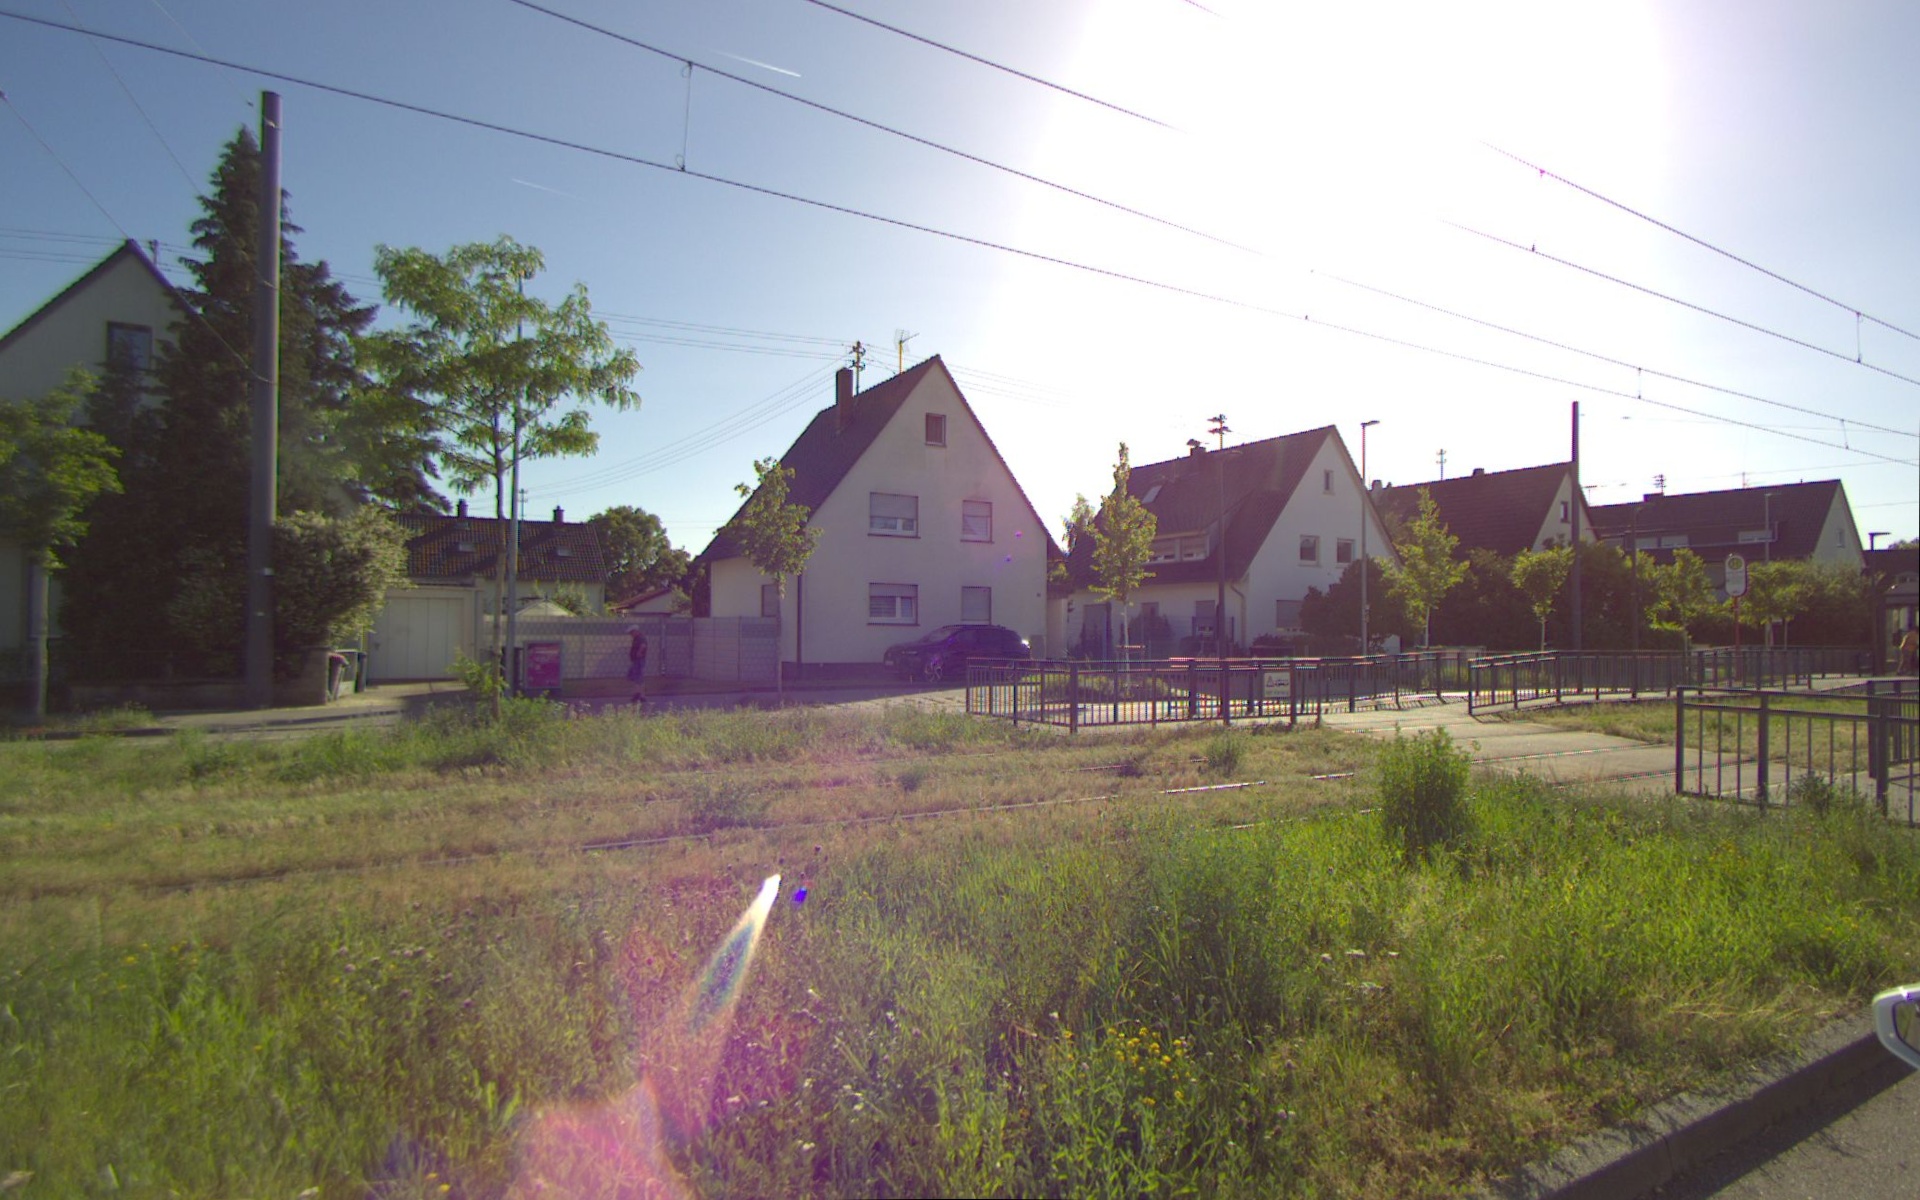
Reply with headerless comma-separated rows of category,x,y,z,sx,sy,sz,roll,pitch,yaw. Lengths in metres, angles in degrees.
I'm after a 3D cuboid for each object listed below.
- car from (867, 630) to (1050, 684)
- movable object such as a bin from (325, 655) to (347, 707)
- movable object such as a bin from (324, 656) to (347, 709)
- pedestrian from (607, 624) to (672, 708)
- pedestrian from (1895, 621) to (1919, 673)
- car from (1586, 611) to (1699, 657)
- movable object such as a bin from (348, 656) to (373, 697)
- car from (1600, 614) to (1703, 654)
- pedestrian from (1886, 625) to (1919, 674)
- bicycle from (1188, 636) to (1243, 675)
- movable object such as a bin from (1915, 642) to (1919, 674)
car,0.009,1.629,29.302,5.102,1.469,1.925,2,-2,-31
movable object such as a bin,-12.226,1.581,19.687,0.330,0.978,0.296,2,-1,-34
movable object such as a bin,-12.065,1.584,19.395,0.347,0.982,0.324,2,-1,-34
pedestrian,-6.579,1.331,20.631,1.073,1.662,0.960,2,-2,-30
pedestrian,31.407,1.551,33.279,0.575,1.731,0.516,1,-2,-34
car,31.880,1.583,47.012,1.915,1.996,3.957,2,-1,-37
movable object such as a bin,-13.815,1.765,23.137,0.447,0.909,0.368,2,-1,-34
car,33.987,1.672,49.438,1.783,1.830,3.816,2,-1,-37
pedestrian,30.238,1.581,32.174,0.741,1.556,0.671,1,-2,-34
bicycle,9.246,1.994,36.422,0.698,1.383,1.975,2,-2,-36
movable object such as a bin,30.626,1.840,31.692,0.734,1.001,0.543,1,-2,-34
